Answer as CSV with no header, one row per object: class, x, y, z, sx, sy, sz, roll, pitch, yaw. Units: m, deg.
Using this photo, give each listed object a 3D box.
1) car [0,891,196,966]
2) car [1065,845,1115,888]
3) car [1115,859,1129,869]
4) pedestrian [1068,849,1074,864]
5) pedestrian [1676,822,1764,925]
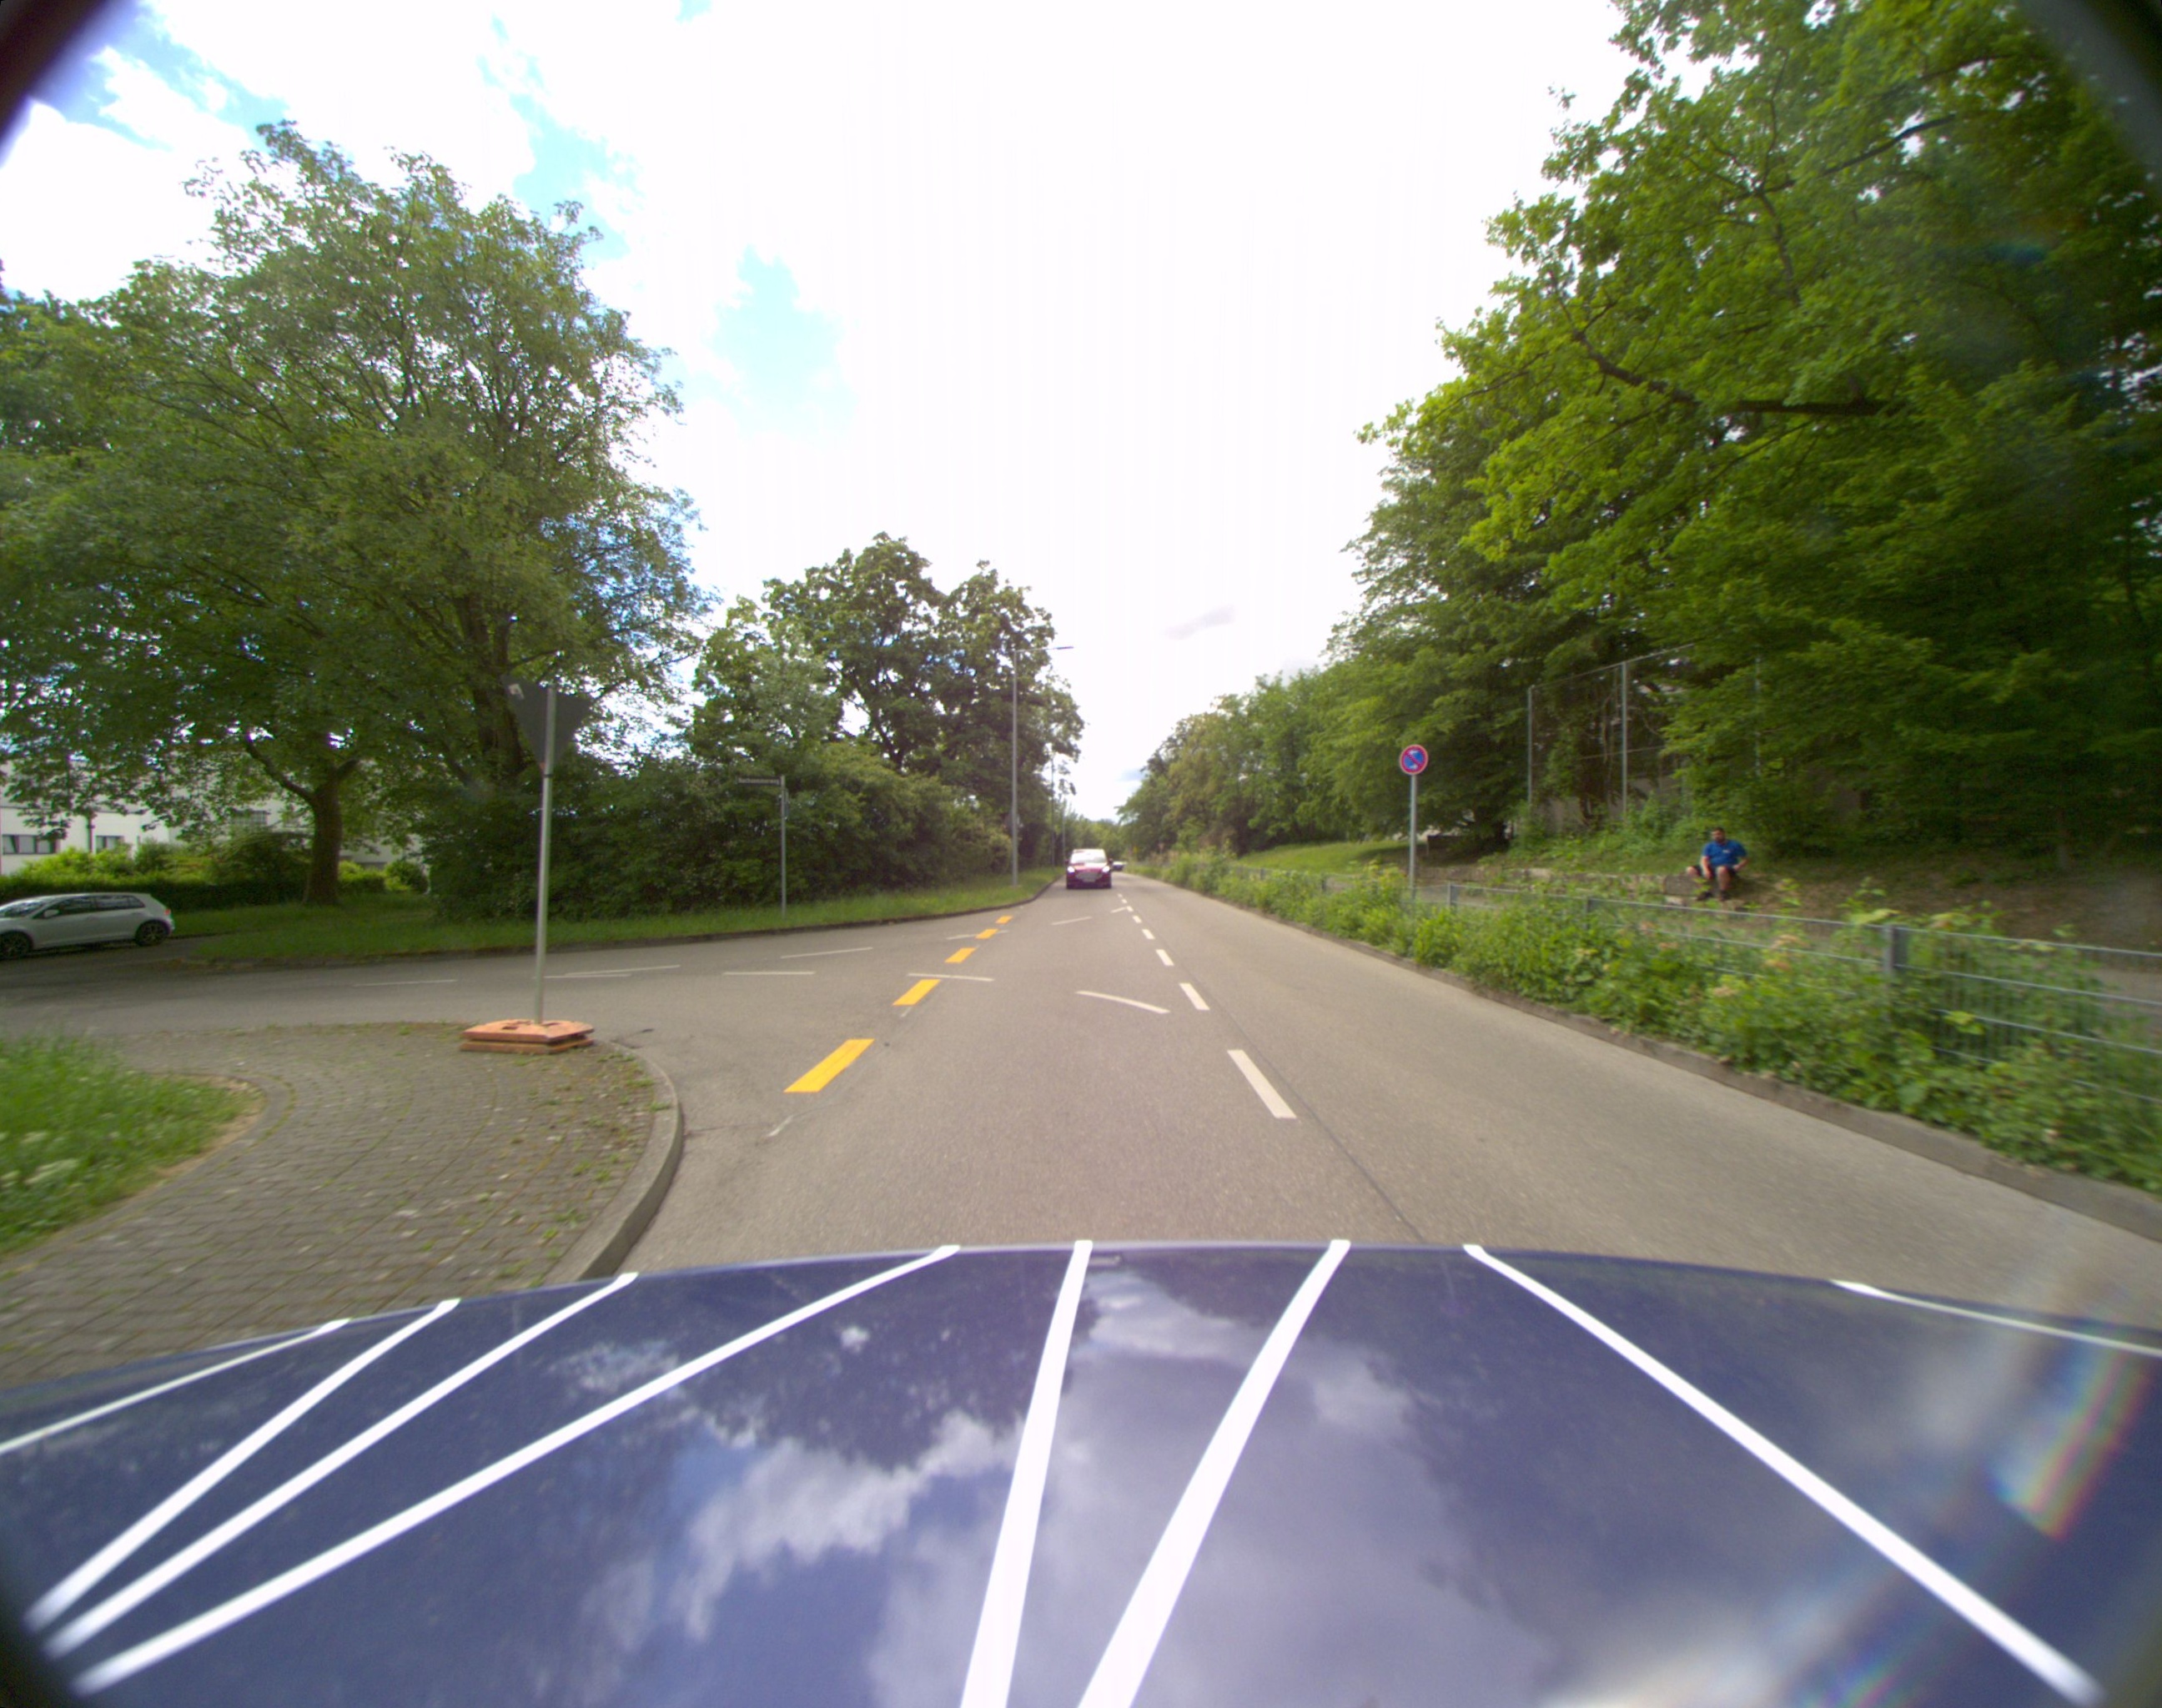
car,-25.265,1.770,18.757,1.826,1.477,4.243,0,0,1
car,0.441,0.478,31.807,1.861,1.608,4.476,-2,0,2
car,5.143,1.247,96.264,1.620,1.324,4.000,0,0,1
pedestrian,-1.223,0.326,91.138,0.675,1.826,0.605,0,1,-6
pedestrian,10.587,0.318,12.607,0.762,1.653,0.809,0,1,-2
